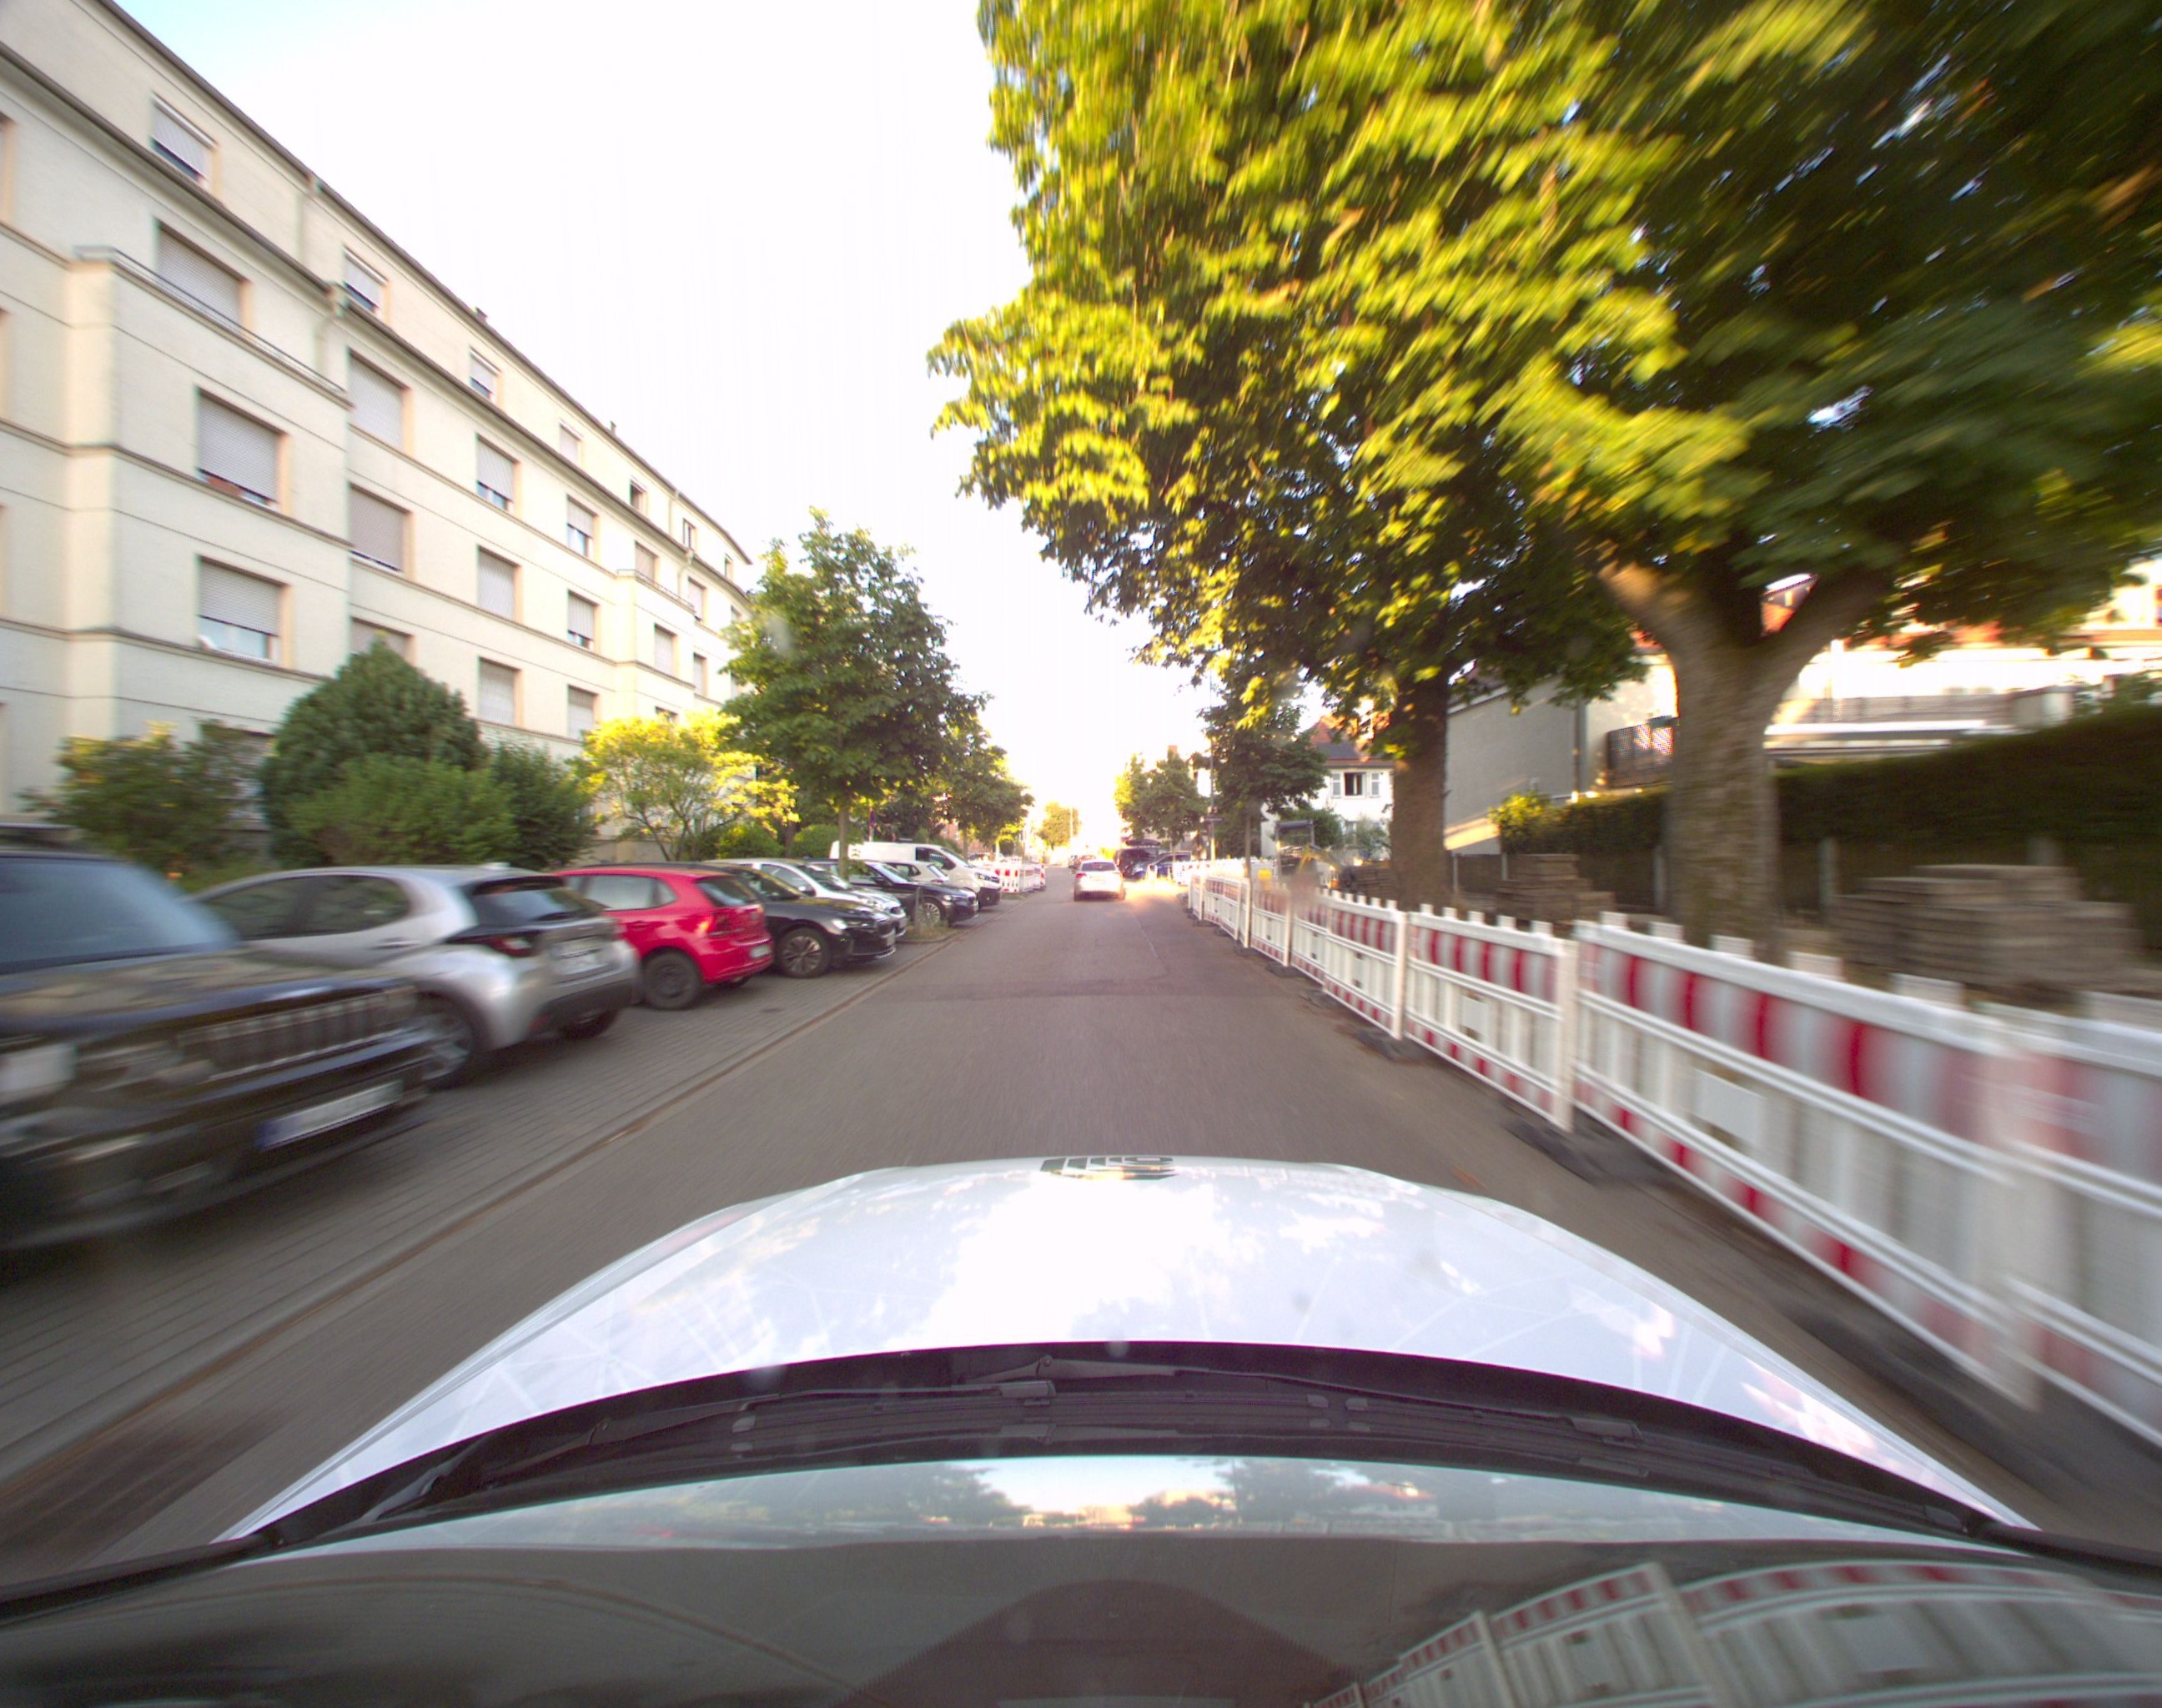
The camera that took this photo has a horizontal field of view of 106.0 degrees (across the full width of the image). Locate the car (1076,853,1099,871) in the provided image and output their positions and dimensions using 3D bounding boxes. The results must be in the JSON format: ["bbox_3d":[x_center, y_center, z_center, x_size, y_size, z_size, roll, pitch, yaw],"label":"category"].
[{"bbox_3d":[0.552,0.659,69.834,1.727,1.483,3.552,0,0,-4],"label":"car"}]

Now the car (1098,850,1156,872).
[{"bbox_3d":[3.493,0.522,61.998,4.150,1.572,1.791,0,0,-11],"label":"car"}]

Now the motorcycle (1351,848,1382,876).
[{"bbox_3d":[11.646,0.318,33.198,0.573,1.105,1.858,0,0,40],"label":"motorcycle"}]

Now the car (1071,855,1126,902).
[{"bbox_3d":[0.649,0.827,29.305,1.801,1.488,4.001,-2,0,1],"label":"car"}]

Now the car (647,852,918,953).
[{"bbox_3d":[-4.931,0.760,13.918,3.978,1.578,1.799,0,0,-4],"label":"car"}]

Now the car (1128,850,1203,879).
[{"bbox_3d":[4.881,0.593,47.061,3.987,1.651,1.759,0,0,-11],"label":"car"}]

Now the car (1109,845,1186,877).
[{"bbox_3d":[4.200,0.432,51.999,4.554,2.023,2.095,0,0,-8],"label":"car"}]

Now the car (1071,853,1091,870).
[{"bbox_3d":[-0.030,0.663,75.347,1.660,1.573,3.436,0,0,-4],"label":"car"}]

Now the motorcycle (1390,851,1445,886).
[{"bbox_3d":[13.952,0.585,33.812,0.601,1.416,2.056,0,0,-42],"label":"motorcycle"}]

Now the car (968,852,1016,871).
[{"bbox_3d":[-7.532,0.623,68.986,3.983,1.625,1.995,0,0,-8],"label":"car"}]

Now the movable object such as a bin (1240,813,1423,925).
[{"bbox_3d":[5.924,0.303,20.128,2.623,2.402,5.189,0,0,-4],"label":"movable object such as a bin"}]

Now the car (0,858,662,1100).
[{"bbox_3d":[-5.643,0.807,6.172,3.976,1.524,1.788,0,0,-2],"label":"car"}]

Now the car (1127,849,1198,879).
[{"bbox_3d":[4.936,0.560,49.641,3.983,1.768,1.995,0,0,-7],"label":"car"}]

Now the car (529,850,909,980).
[{"bbox_3d":[-4.760,0.758,11.285,4.397,1.615,1.898,0,0,-4],"label":"car"}]

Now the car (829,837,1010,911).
[{"bbox_3d":[-4.529,0.541,23.393,4.757,2.013,2.000,0,0,0],"label":"car"}]

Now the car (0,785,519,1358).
[{"bbox_3d":[-5.001,0.671,3.556,3.843,1.777,1.845,0,0,4],"label":"car"}]

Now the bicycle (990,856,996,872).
[{"bbox_3d":[-6.962,0.782,64.430,0.405,1.227,1.982,0,0,-8],"label":"bicycle"}]

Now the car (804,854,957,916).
[{"bbox_3d":[-5.043,0.756,20.774,3.401,1.483,1.759,0,0,2],"label":"car"}]

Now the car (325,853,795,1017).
[{"bbox_3d":[-5.438,0.791,8.955,3.978,1.583,1.729,0,0,-4],"label":"car"}]

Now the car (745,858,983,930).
[{"bbox_3d":[-4.691,0.852,18.122,4.756,1.470,1.881,1,0,0],"label":"car"}]

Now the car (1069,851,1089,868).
[{"bbox_3d":[-0.226,0.559,80.222,1.805,1.612,3.576,0,0,-4],"label":"car"}]
